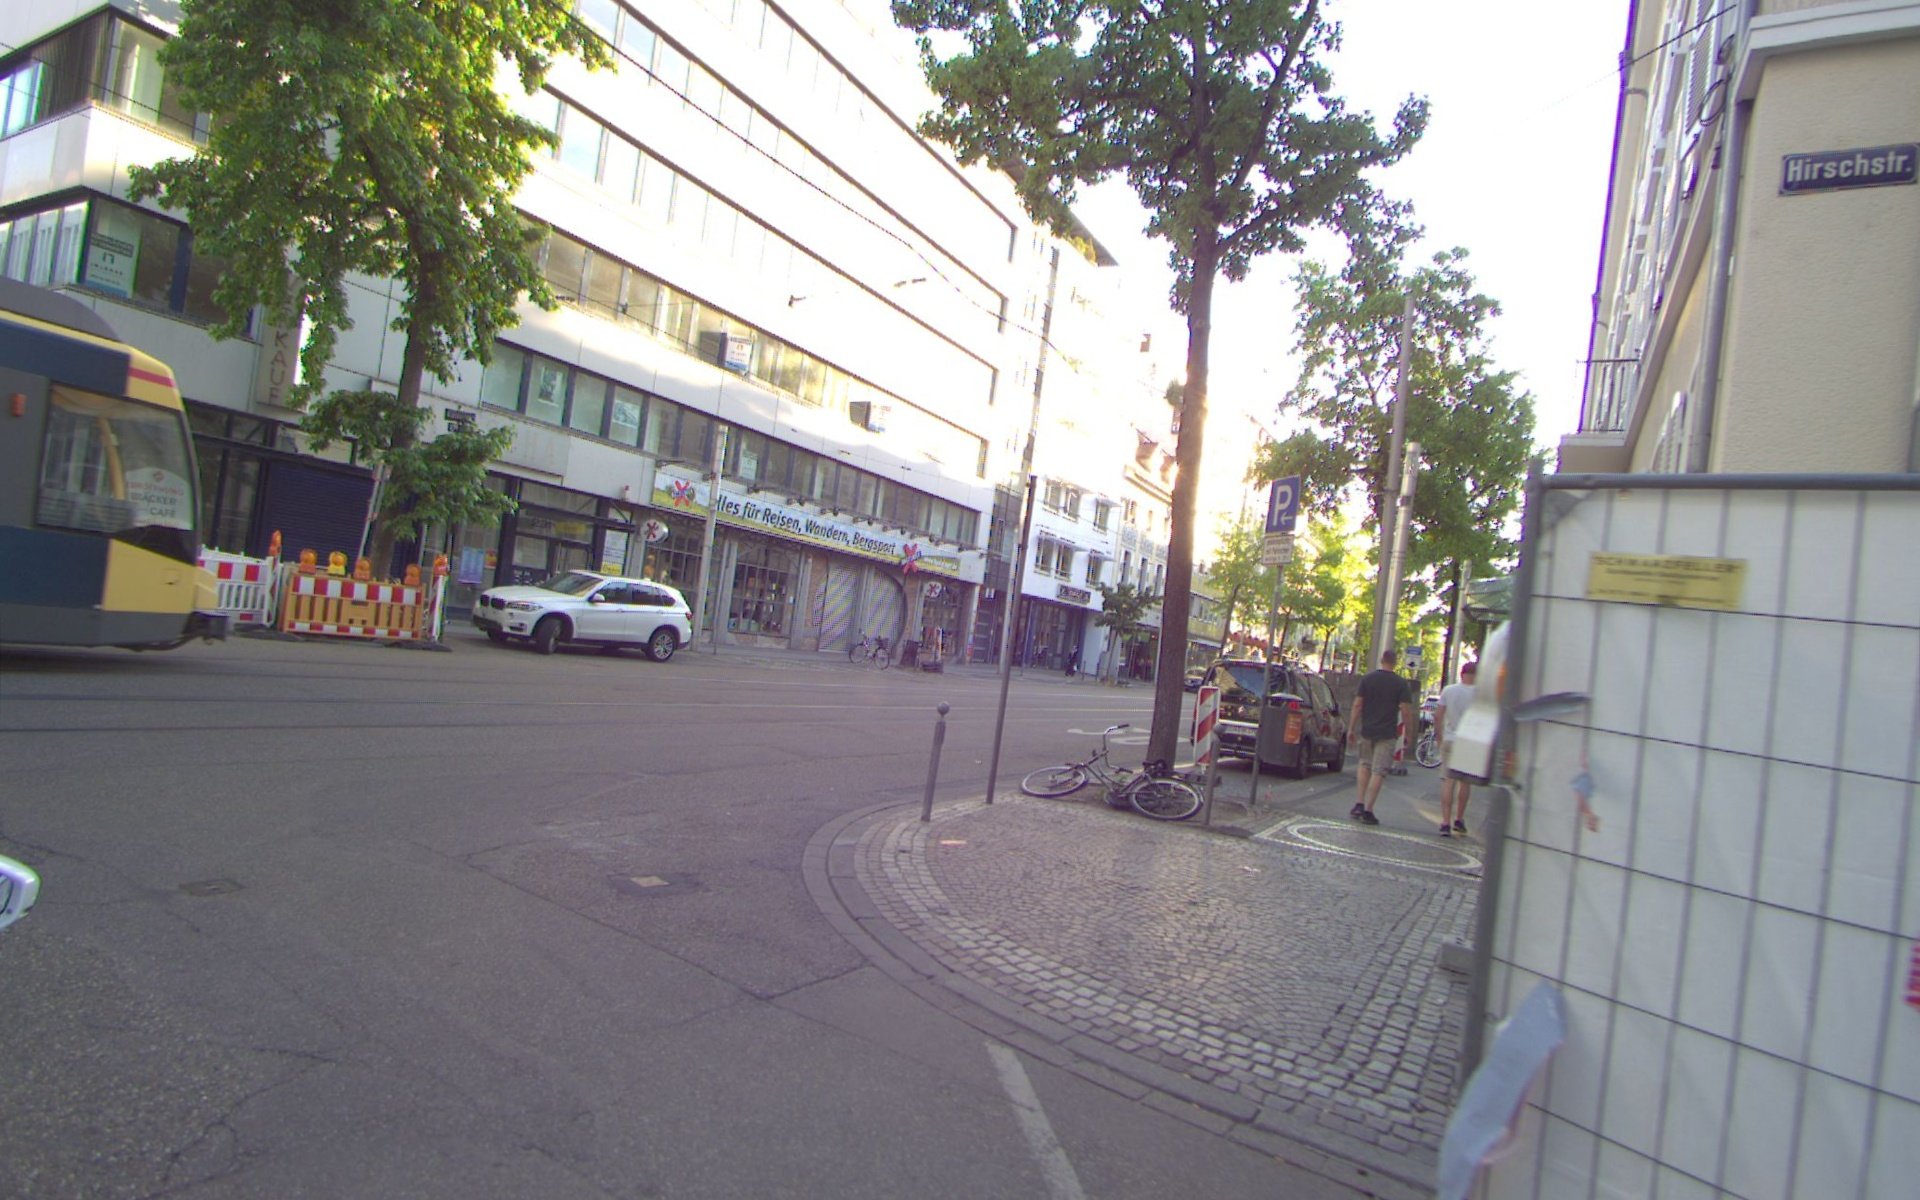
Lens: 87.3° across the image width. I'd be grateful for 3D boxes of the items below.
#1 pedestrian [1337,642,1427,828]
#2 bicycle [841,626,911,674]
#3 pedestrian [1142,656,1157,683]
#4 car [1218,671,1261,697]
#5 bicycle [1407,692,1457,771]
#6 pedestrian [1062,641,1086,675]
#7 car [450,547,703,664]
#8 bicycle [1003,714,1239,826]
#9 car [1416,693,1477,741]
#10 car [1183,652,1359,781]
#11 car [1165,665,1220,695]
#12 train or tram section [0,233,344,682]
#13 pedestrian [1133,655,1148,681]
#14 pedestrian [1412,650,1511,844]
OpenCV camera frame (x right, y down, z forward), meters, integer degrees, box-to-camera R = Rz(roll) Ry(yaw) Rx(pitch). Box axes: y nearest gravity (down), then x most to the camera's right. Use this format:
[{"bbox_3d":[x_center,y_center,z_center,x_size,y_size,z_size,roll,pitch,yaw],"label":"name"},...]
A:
[{"bbox_3d":[4.656,1.461,11.078,0.669,1.907,0.768,5,-1,32],"label":"pedestrian"},{"bbox_3d":[-2.692,1.587,32.087,2.132,1.173,0.758,10,2,37],"label":"bicycle"},{"bbox_3d":[11.822,4.346,62.770,0.470,1.575,0.746,8,1,31],"label":"pedestrian"},{"bbox_3d":[19.058,5.734,68.458,1.710,1.334,4.101,9,-1,30],"label":"car"},{"bbox_3d":[10.465,2.888,22.249,0.692,1.568,2.182,5,-3,30],"label":"bicycle"},{"bbox_3d":[5.764,2.947,50.886,0.718,1.577,0.837,8,1,33],"label":"pedestrian"},{"bbox_3d":[-8.072,0.203,21.632,1.967,1.791,4.663,10,-1,33],"label":"car"},{"bbox_3d":[1.664,1.680,10.269,2.040,0.714,1.331,6,-2,25],"label":"bicycle"},{"bbox_3d":[21.661,5.167,44.678,1.966,1.758,4.100,7,-2,30],"label":"car"},{"bbox_3d":[5.420,1.966,17.203,1.746,1.785,3.870,4,-3,34],"label":"car"},{"bbox_3d":[13.979,4.818,60.361,1.970,1.378,4.100,9,-1,30],"label":"car"},{"bbox_3d":[-10.408,-1.531,6.656,2.976,3.565,10.356,7,-1,31],"label":"train or tram section"},{"bbox_3d":[11.325,4.272,63.078,0.470,1.566,0.746,7,0,31],"label":"pedestrian"},{"bbox_3d":[5.394,1.538,10.798,0.747,1.907,0.878,5,-1,32],"label":"pedestrian"}]
